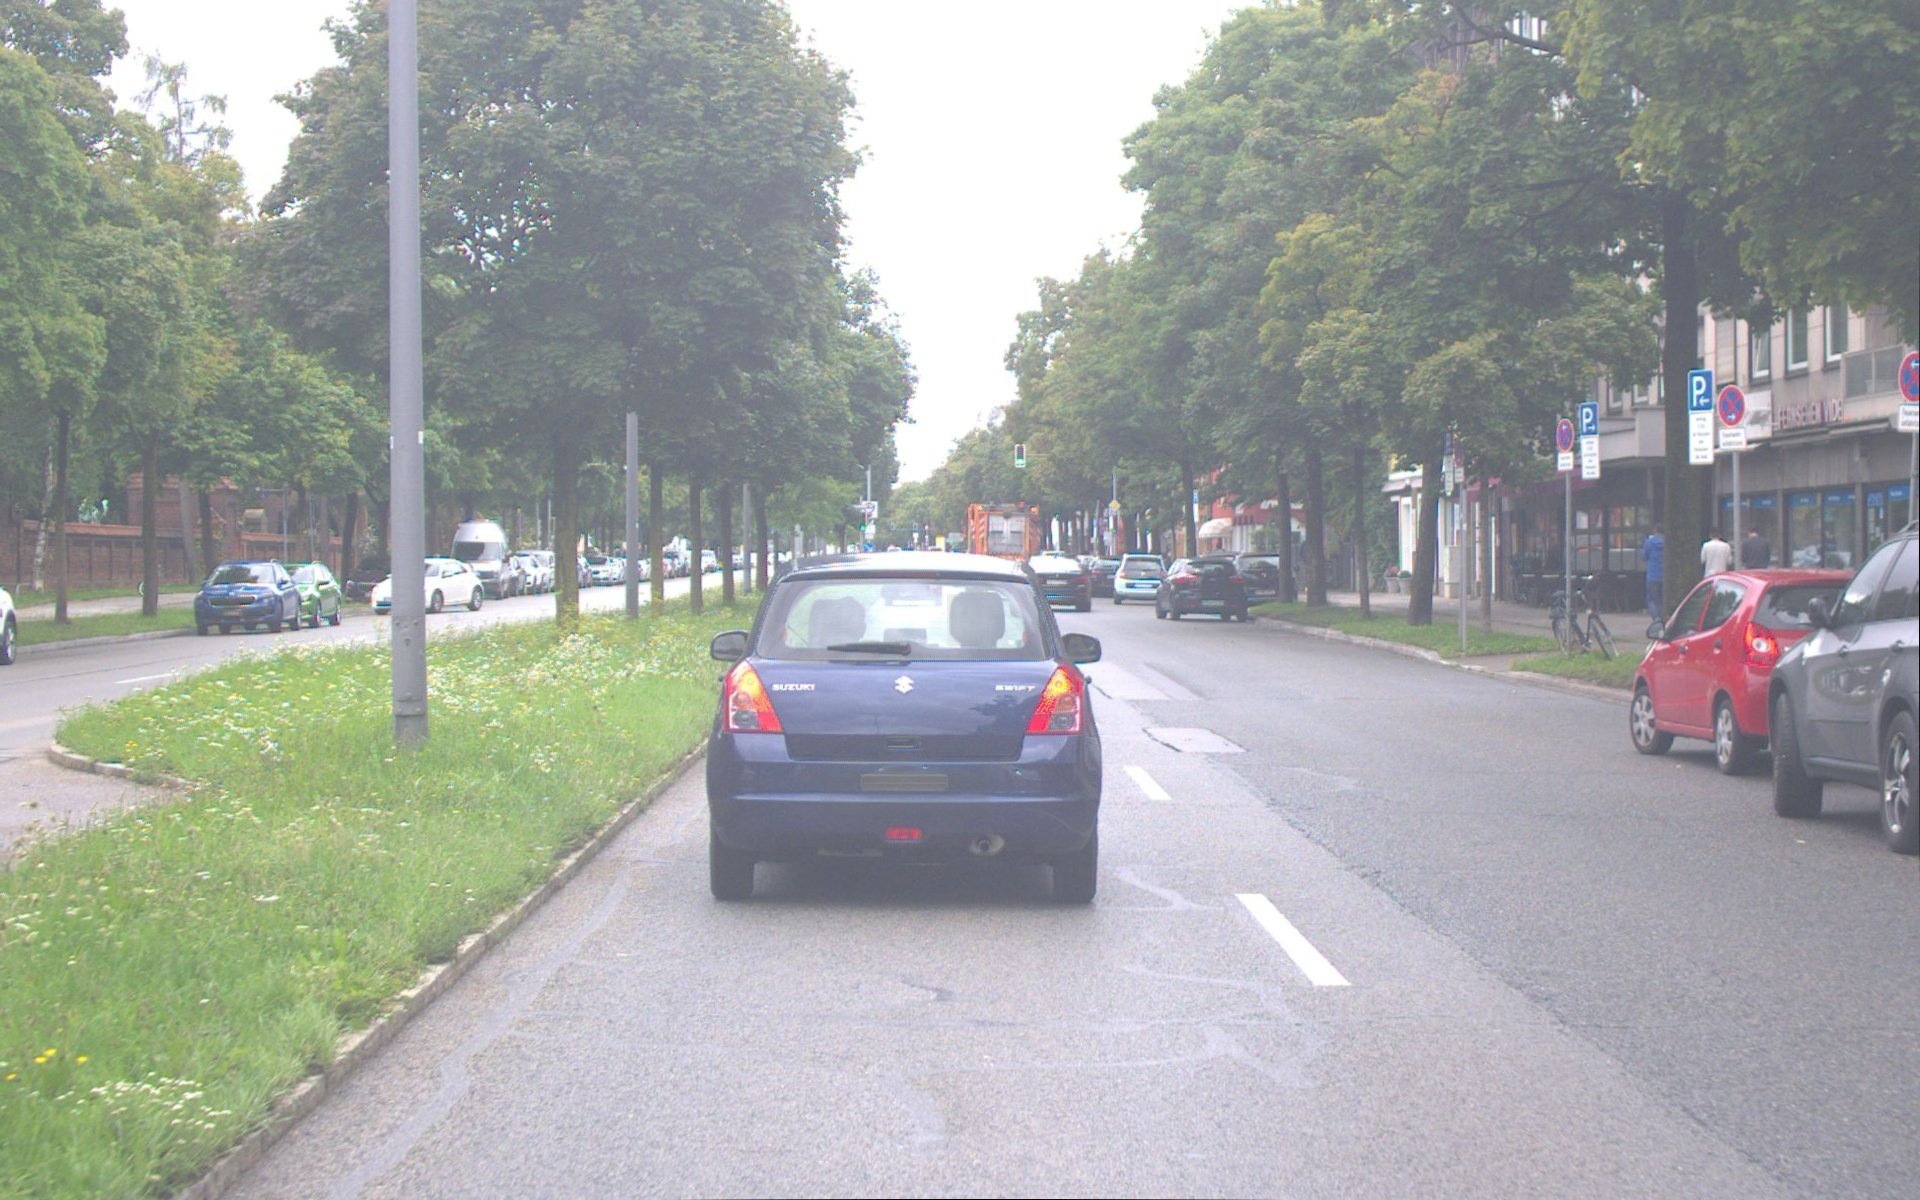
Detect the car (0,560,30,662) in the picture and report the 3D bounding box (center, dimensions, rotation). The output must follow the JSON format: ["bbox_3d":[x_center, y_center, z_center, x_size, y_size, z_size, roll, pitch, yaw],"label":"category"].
[{"bbox_3d":[-14.844,0.161,49.578,1.857,1.485,4.142,0,0,-2],"label":"car"}]

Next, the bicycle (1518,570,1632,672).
[{"bbox_3d":[7.804,0.248,43.713,0.454,1.251,2.150,0,1,-19],"label":"bicycle"}]

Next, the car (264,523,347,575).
[{"bbox_3d":[-20.081,-1.559,105.553,1.813,1.531,4.299,1,1,-1],"label":"car"}]

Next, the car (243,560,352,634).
[{"bbox_3d":[-15.073,-0.094,78.431,1.638,1.532,4.315,-3,1,-1],"label":"car"}]

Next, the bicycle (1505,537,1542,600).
[{"bbox_3d":[13.097,-0.736,79.925,0.580,1.458,1.688,0,1,0],"label":"bicycle"}]

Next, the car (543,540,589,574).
[{"bbox_3d":[-18.027,-1.989,157.377,1.706,1.529,4.000,0,1,-1],"label":"car"}]

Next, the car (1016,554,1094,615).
[{"bbox_3d":[2.485,-0.431,90.773,1.821,1.472,4.691,2,1,-1],"label":"car"}]

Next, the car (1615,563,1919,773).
[{"bbox_3d":[6.078,0.453,25.923,1.521,1.436,4.000,0,1,0],"label":"car"}]

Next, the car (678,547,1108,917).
[{"bbox_3d":[-0.266,0.510,16.034,1.753,1.499,4.000,0,1,0],"label":"car"}]

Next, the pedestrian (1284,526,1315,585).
[{"bbox_3d":[10.813,-1.426,109.536,0.792,1.849,0.777,-2,1,-3],"label":"pedestrian"}]

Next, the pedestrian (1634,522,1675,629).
[{"bbox_3d":[11.310,-0.407,55.993,0.499,1.727,0.733,0,1,0],"label":"pedestrian"}]

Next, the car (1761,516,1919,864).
[{"bbox_3d":[5.794,0.426,19.004,1.829,1.740,4.508,0,1,2],"label":"car"}]

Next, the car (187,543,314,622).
[{"bbox_3d":[-14.940,-0.395,72.568,1.886,1.532,4.315,-3,1,-2],"label":"car"}]

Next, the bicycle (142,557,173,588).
[{"bbox_3d":[-24.594,-0.842,105.352,0.655,0.933,1.620,0,1,-3],"label":"bicycle"}]

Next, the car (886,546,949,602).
[{"bbox_3d":[-1.181,-0.729,95.473,1.718,1.495,4.301,1,1,-1],"label":"car"}]

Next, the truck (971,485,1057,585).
[{"bbox_3d":[1.972,-2.449,129.721,3.041,3.545,13.675,0,1,0],"label":"truck"}]

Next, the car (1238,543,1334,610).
[{"bbox_3d":[8.187,-0.617,86.703,1.993,1.637,4.333,0,1,0],"label":"car"}]

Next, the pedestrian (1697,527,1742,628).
[{"bbox_3d":[12.383,-0.365,56.070,0.549,1.624,0.641,-2,1,0],"label":"pedestrian"}]

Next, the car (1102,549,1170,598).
[{"bbox_3d":[5.290,-0.820,103.647,1.653,1.447,4.001,0,1,-3],"label":"car"}]

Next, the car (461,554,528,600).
[{"bbox_3d":[-18.032,-0.917,133.230,2.185,1.730,4.579,1,1,-3],"label":"car"}]

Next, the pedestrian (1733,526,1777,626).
[{"bbox_3d":[13.030,-0.396,56.338,0.541,1.635,0.724,0,1,0],"label":"pedestrian"}]

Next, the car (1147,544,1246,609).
[{"bbox_3d":[5.431,-0.558,79.252,1.993,1.447,4.000,0,1,0],"label":"car"}]

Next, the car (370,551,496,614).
[{"bbox_3d":[-14.466,-0.499,94.616,1.762,1.532,4.312,-2,1,15],"label":"car"}]

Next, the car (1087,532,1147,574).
[{"bbox_3d":[5.475,-1.652,120.185,1.653,1.447,4.709,0,1,-3],"label":"car"}]
